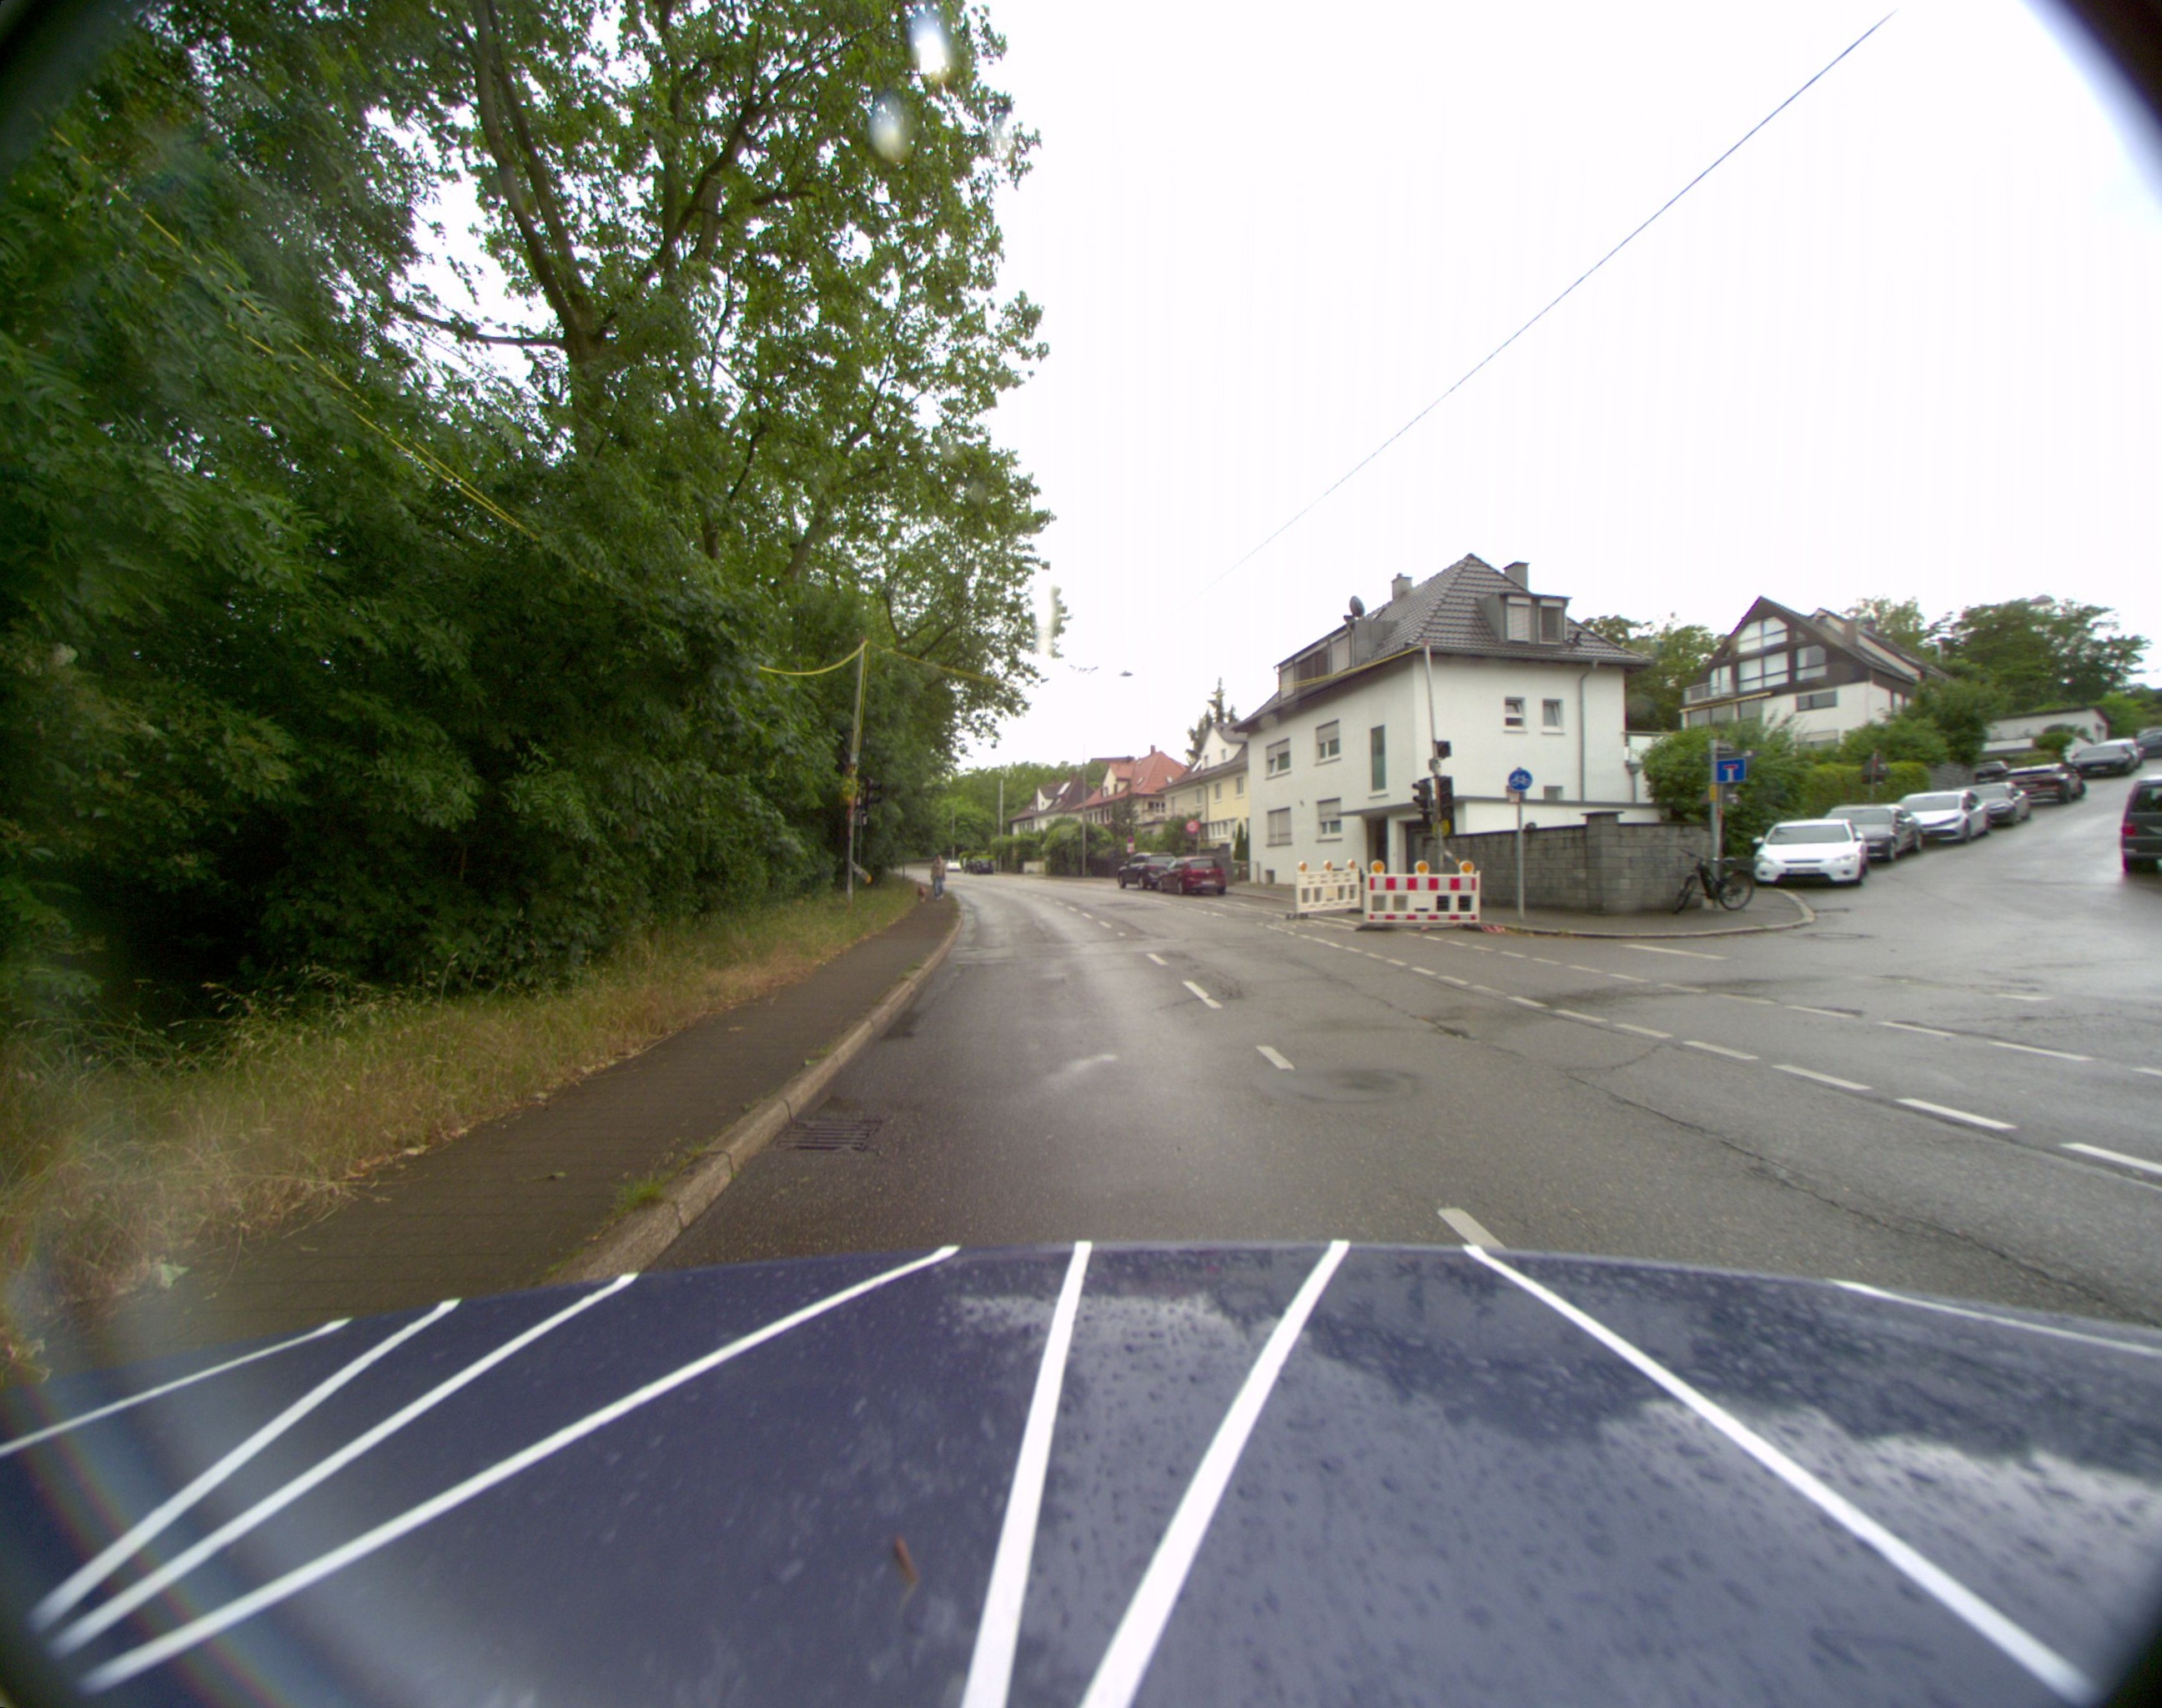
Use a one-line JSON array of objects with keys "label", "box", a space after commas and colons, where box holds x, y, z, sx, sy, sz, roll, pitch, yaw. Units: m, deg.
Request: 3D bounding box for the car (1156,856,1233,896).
[{"label": "car", "box": [4.381, 0.818, 29.894, 1.787, 1.423, 3.844, -2, 0, -10]}]

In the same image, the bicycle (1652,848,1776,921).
[{"label": "bicycle", "box": [11.587, 0.537, 13.925, 2.006, 1.232, 0.510, -2, 3, -8]}]

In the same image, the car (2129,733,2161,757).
[{"label": "car", "box": [68.322, -6.937, 47.692, 1.286, 1.310, 2.945, -3, 1, -36]}]

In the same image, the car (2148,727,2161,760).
[{"label": "car", "box": [72.462, -7.448, 48.977, 2.003, 2.000, 3.993, -2, -4, -32]}]

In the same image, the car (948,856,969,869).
[{"label": "car", "box": [-15.242, 1.073, 94.163, 2.071, 1.477, 4.556, -2, 0, -16]}]

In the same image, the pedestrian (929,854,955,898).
[{"label": "pedestrian", "box": [-4.953, 0.777, 27.131, 0.735, 1.490, 0.785, -3, 1, -1]}]

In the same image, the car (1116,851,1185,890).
[{"label": "car", "box": [3.128, 0.733, 35.022, 1.798, 1.630, 4.150, -1, 0, -15]}]

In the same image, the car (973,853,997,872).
[{"label": "car", "box": [-9.614, 0.844, 75.943, 1.882, 1.814, 4.121, -2, 0, -14]}]

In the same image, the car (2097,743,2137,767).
[{"label": "car", "box": [59.835, -5.742, 43.892, 2.988, 1.191, 1.305, -6, 3, -35]}]

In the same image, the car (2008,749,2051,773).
[{"label": "car", "box": [57.236, -5.638, 45.859, 3.656, 1.205, 1.577, -7, 3, -38]}]

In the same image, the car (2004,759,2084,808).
[{"label": "car", "box": [40.718, -2.983, 32.104, 4.004, 1.617, 1.638, -8, 4, -32]}]

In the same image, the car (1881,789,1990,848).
[{"label": "car", "box": [27.269, -1.152, 24.222, 3.951, 1.462, 1.755, -7, 3, -33]}]

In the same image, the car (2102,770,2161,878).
[{"label": "car", "box": [23.883, -0.751, 16.252, 4.497, 2.003, 1.996, -7, 3, -31]}]

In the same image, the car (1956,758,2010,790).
[{"label": "car", "box": [52.865, -4.649, 44.510, 4.020, 1.545, 1.812, -3, 1, -37]}]

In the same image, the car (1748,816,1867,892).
[{"label": "car", "box": [17.776, -0.048, 18.527, 4.126, 1.455, 1.849, -7, 4, -43]}]

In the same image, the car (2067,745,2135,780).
[{"label": "car", "box": [54.813, -4.879, 40.834, 4.034, 1.511, 1.786, -2, 0, -31]}]

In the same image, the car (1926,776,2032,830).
[{"label": "car", "box": [32.326, -1.831, 27.325, 4.111, 1.430, 1.921, -9, 4, -33]}]

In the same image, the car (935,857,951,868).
[{"label": "car", "box": [-18.750, 1.133, 102.999, 1.691, 1.419, 3.770, -2, 0, -17]}]

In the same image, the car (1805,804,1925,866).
[{"label": "car", "box": [22.463, -0.557, 21.749, 3.910, 1.380, 1.719, -7, 3, -34]}]

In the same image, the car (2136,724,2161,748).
[{"label": "car", "box": [81.115, -8.868, 55.955, 1.754, 1.508, 3.961, -3, 1, -35]}]
